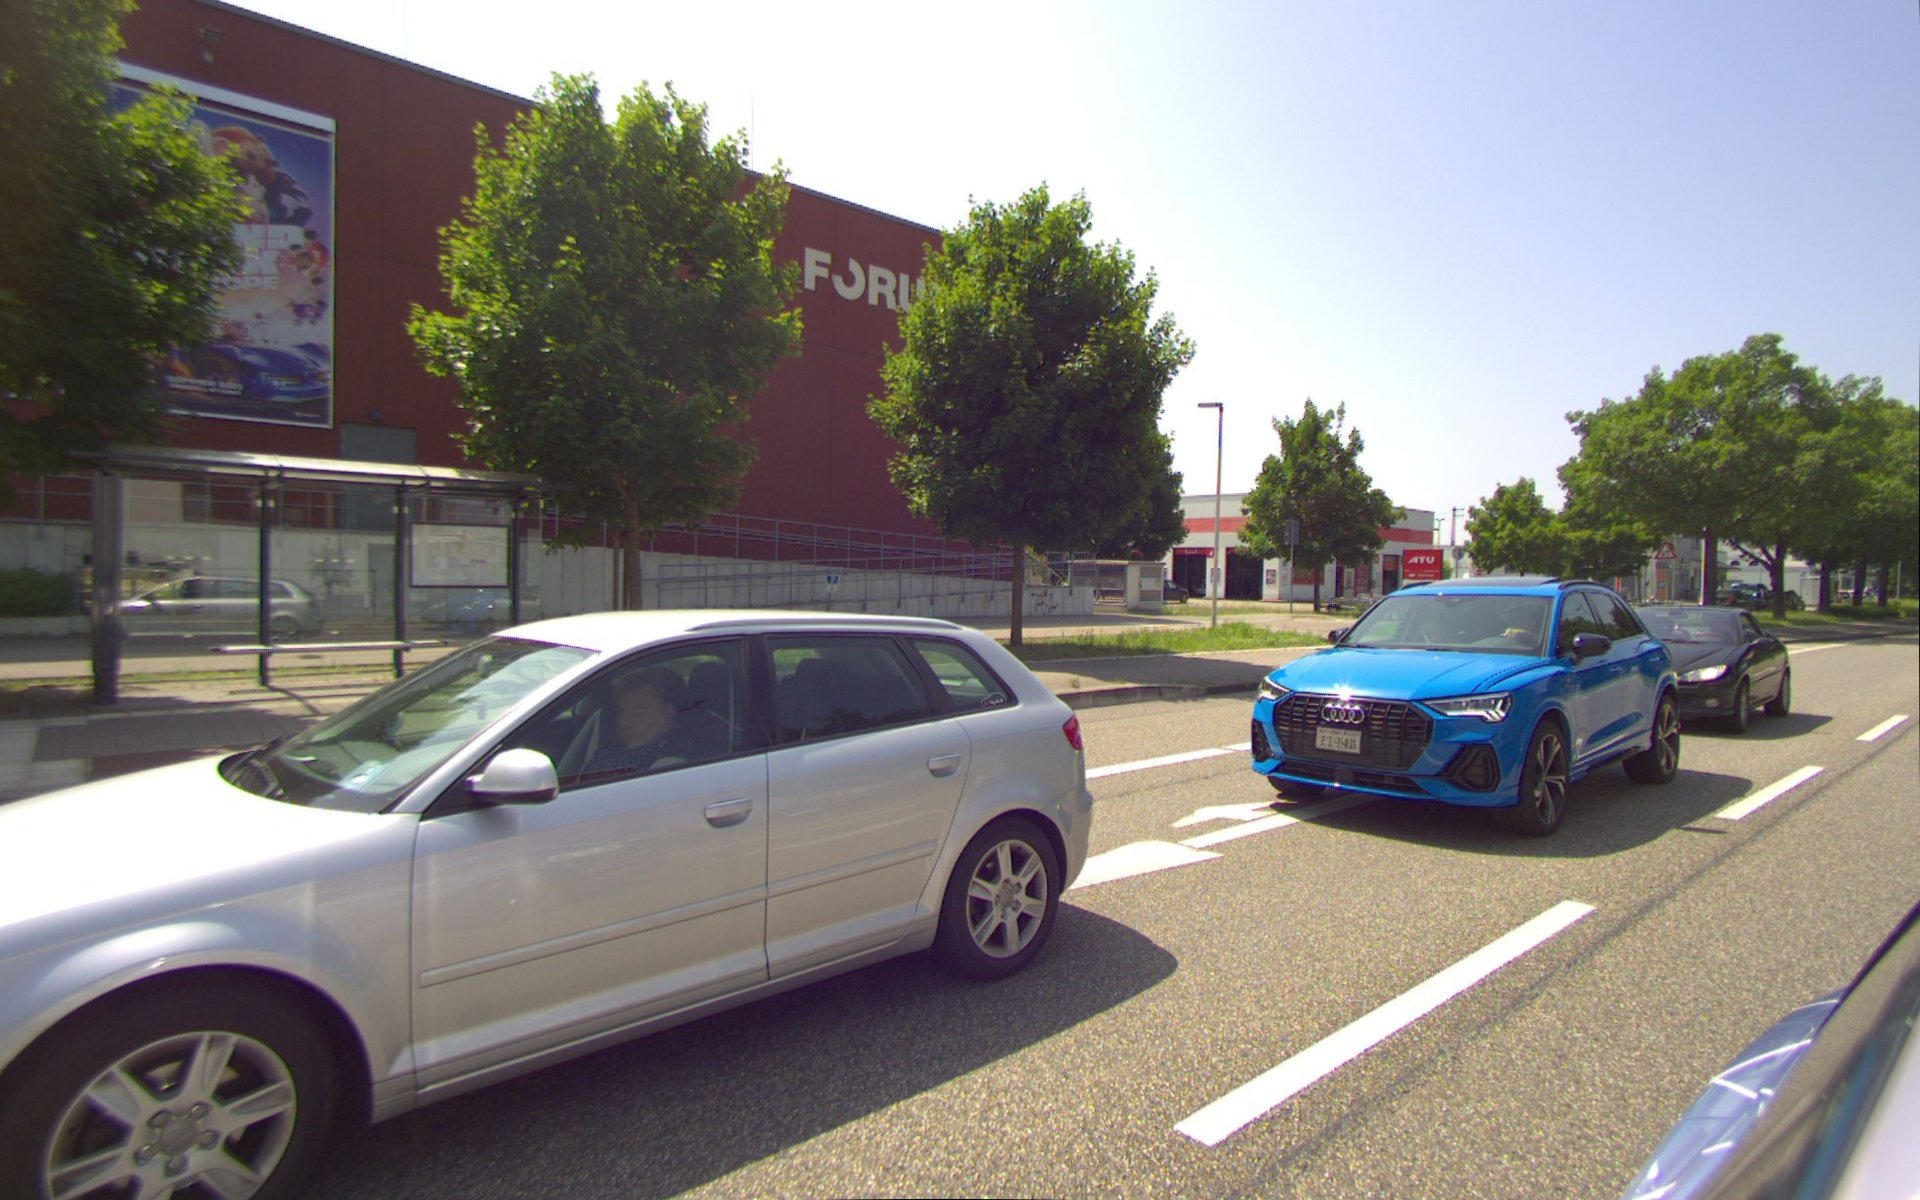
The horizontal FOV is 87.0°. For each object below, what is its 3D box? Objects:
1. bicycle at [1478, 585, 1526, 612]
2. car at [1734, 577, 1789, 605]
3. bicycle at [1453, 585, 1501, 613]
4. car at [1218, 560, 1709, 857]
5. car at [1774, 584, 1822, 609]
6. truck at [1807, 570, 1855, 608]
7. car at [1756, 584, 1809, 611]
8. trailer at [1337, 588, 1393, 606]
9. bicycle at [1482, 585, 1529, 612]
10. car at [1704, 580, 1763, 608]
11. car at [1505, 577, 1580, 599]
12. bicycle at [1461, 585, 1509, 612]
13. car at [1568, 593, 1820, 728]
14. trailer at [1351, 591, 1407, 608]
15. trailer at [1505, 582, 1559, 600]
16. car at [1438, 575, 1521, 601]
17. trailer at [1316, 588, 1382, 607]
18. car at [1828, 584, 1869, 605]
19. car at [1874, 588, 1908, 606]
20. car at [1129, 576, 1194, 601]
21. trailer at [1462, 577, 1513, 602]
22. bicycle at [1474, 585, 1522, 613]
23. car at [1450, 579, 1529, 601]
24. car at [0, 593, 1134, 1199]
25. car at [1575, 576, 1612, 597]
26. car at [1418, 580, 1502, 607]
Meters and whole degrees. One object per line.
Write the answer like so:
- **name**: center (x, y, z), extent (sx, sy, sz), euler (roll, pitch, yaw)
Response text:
- **bicycle**: center (23.897, -0.088, 44.671), extent (1.779, 1.138, 0.506), euler (3, 2, 43)
- **car**: center (45.129, -0.509, 56.953), extent (3.930, 1.485, 1.719), euler (0, 2, -41)
- **bicycle**: center (22.247, -0.056, 43.561), extent (1.779, 1.138, 0.506), euler (3, 2, 43)
- **car**: center (3.984, 0.556, 7.642), extent (4.324, 1.616, 1.840), euler (0, 1, -42)
- **car**: center (53.384, -0.245, 64.450), extent (3.930, 1.532, 1.719), euler (0, 2, -41)
- **truck**: center (62.041, -0.757, 72.067), extent (3.928, 2.598, 1.904), euler (0, 2, -40)
- **car**: center (48.986, -0.176, 60.256), extent (3.930, 1.539, 1.719), euler (0, 2, -41)
- **trailer**: center (19.322, -0.155, 48.297), extent (1.244, 0.771, 2.137), euler (0, 2, -39)
- **bicycle**: center (24.368, -0.074, 45.209), extent (1.779, 1.138, 0.506), euler (3, 2, 43)
- **car**: center (40.485, -0.326, 52.966), extent (3.930, 1.388, 1.641), euler (0, 2, -41)
- **car**: center (38.108, -0.769, 66.269), extent (1.661, 1.317, 3.991), euler (0, 2, -43)
- **bicycle**: center (22.763, -0.074, 43.904), extent (1.779, 1.138, 0.506), euler (3, 2, 43)
- **car**: center (8.876, 0.604, 12.120), extent (3.931, 1.361, 1.640), euler (0, 0, -42)
- **trailer**: center (20.470, -0.022, 49.455), extent (1.368, 0.771, 2.137), euler (0, 2, -39)
- **trailer**: center (36.341, -0.589, 64.286), extent (1.551, 1.065, 2.638), euler (0, 2, -43)
- **car**: center (30.820, -0.717, 60.102), extent (1.718, 1.419, 3.991), euler (0, 2, -43)
- **trailer**: center (18.043, -0.118, 46.983), extent (1.423, 0.771, 2.467), euler (0, 2, -39)
- **car**: center (66.475, -0.423, 75.694), extent (3.930, 1.485, 1.719), euler (0, 2, -41)
- **car**: center (81.814, -0.297, 88.888), extent (3.930, 1.485, 1.719), euler (0, 2, -41)
- **car**: center (12.141, -0.703, 60.775), extent (4.074, 1.389, 1.716), euler (0, 2, -42)
- **trailer**: center (34.503, -0.669, 66.247), extent (1.391, 1.546, 2.638), euler (0, 2, -43)
- **bicycle**: center (23.486, -0.044, 44.183), extent (1.779, 1.138, 0.506), euler (3, 2, 43)
- **car**: center (32.351, -0.624, 61.893), extent (1.718, 1.223, 3.991), euler (0, 2, -43)
- **car**: center (-1.319, 0.677, 3.573), extent (4.022, 1.379, 1.714), euler (-1, 0, -42)
- **car**: center (50.112, -1.066, 80.028), extent (1.753, 1.616, 3.939), euler (2, 2, 42)
- **car**: center (29.023, -0.405, 58.829), extent (1.718, 1.419, 3.992), euler (0, 2, -43)
